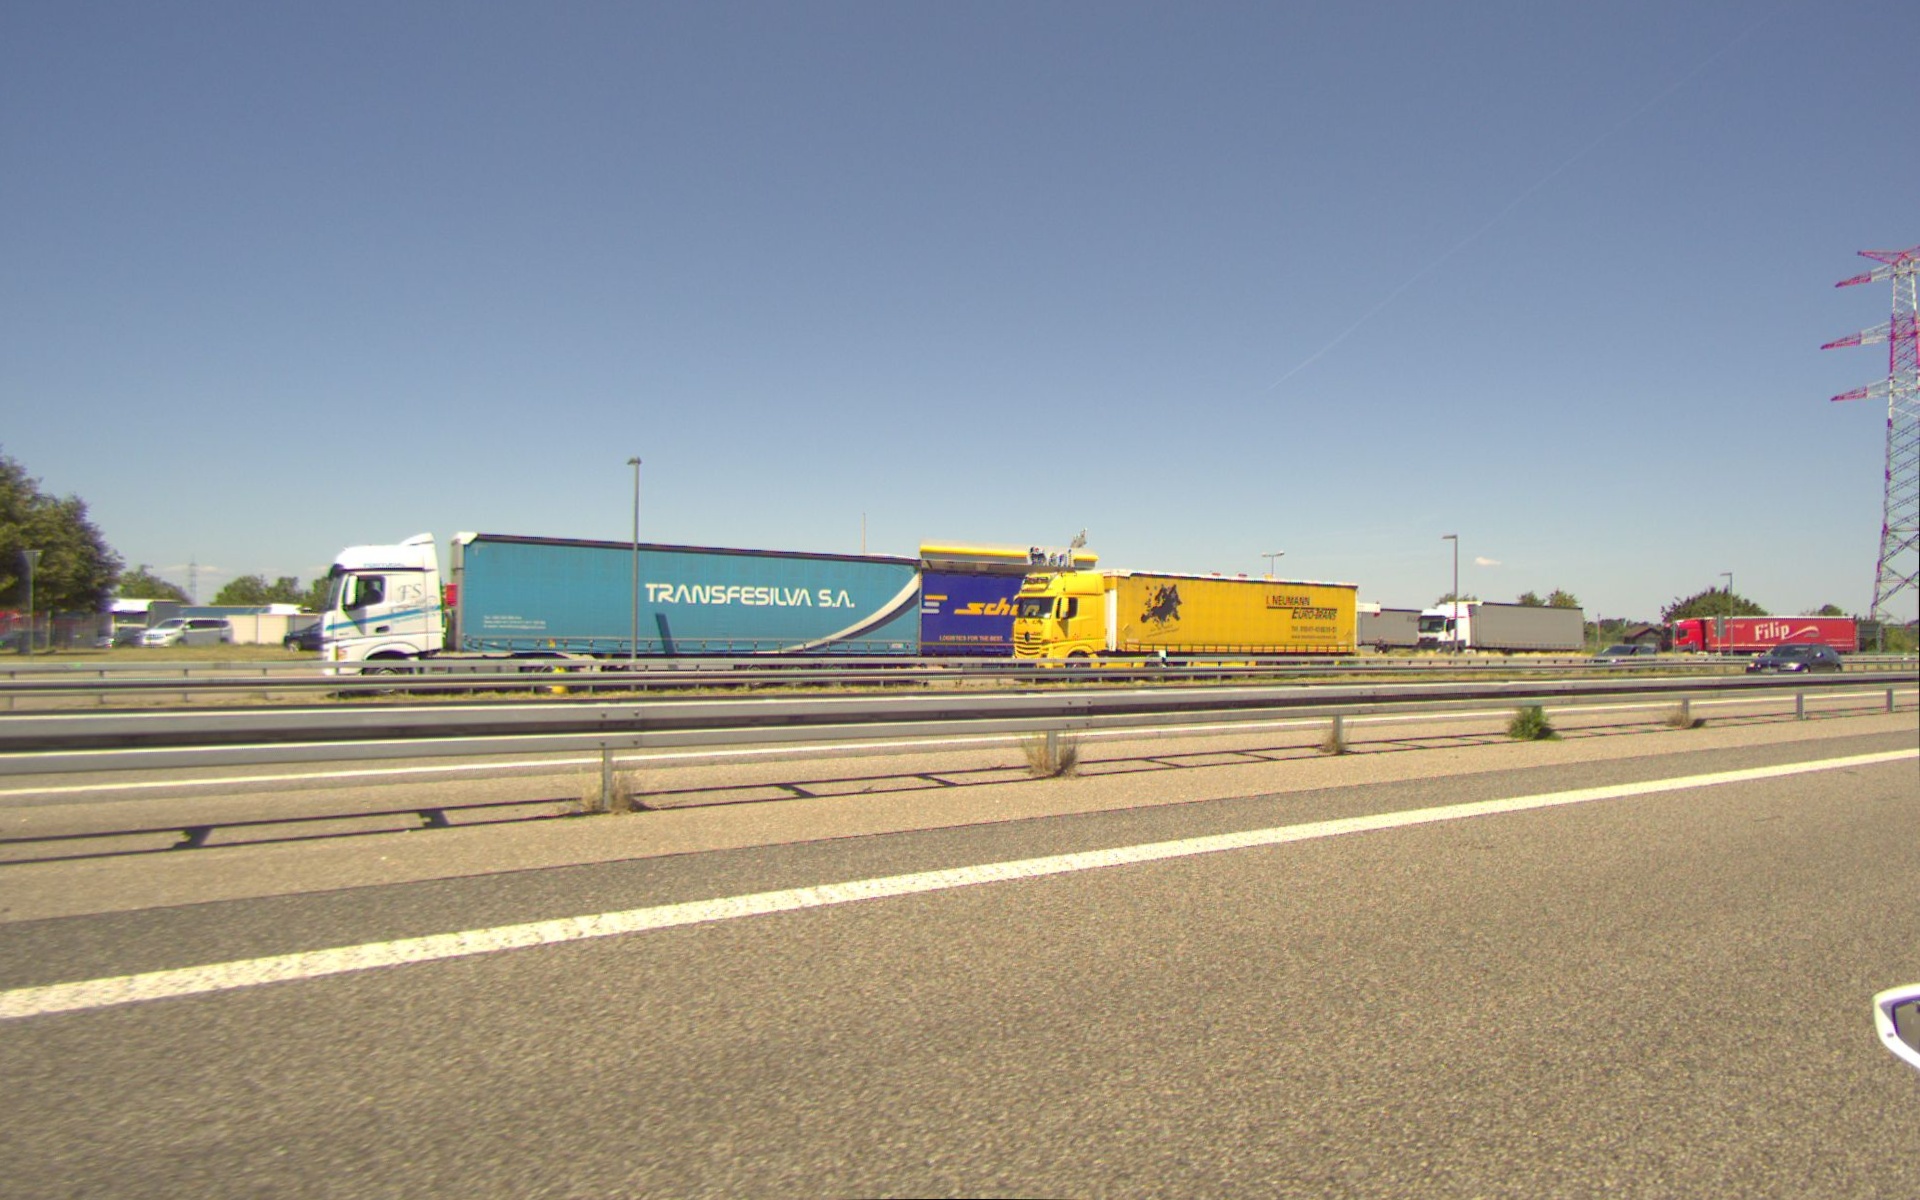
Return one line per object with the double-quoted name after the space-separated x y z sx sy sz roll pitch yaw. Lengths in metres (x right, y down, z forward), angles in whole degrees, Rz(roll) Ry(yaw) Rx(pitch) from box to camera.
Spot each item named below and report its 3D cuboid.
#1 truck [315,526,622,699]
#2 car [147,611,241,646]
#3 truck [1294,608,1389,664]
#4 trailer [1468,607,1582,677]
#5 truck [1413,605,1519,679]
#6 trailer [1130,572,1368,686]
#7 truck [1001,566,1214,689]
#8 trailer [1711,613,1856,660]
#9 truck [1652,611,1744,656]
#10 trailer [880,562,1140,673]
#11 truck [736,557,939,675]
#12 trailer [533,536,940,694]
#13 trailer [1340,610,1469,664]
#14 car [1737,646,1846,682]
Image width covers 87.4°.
-13.053 0.367 27.001 7.009 4.127 2.834 2 0 -31 "truck"
-46.669 1.689 61.317 1.748 1.894 4.899 2 0 3 "car"
32.111 3.034 84.609 7.531 4.415 3.287 2 0 -29 "truck"
42.811 3.166 75.998 9.578 4.940 3.282 2 0 -33 "trailer"
36.190 2.973 71.781 7.541 4.915 3.283 2 0 -32 "truck"
12.238 1.214 41.845 10.958 4.276 2.818 2 0 -32 "trailer"
5.643 1.022 37.800 7.828 4.256 2.819 2 0 -31 "truck"
80.105 3.529 97.879 11.085 4.109 3.132 2 0 4 "trailer"
72.297 3.268 98.484 6.511 4.103 3.129 2 0 5 "truck"
2.264 0.784 41.790 10.950 4.204 2.820 2 0 -30 "trailer"
-4.571 0.624 37.920 7.003 4.127 2.821 2 0 -29 "truck"
-6.517 0.532 31.006 11.947 4.204 2.818 2 0 -32 "trailer"
39.304 3.260 88.552 12.762 4.415 3.287 2 0 -29 "trailer"
31.156 2.392 37.618 4.267 1.292 1.734 2 -4 -30 "car"
